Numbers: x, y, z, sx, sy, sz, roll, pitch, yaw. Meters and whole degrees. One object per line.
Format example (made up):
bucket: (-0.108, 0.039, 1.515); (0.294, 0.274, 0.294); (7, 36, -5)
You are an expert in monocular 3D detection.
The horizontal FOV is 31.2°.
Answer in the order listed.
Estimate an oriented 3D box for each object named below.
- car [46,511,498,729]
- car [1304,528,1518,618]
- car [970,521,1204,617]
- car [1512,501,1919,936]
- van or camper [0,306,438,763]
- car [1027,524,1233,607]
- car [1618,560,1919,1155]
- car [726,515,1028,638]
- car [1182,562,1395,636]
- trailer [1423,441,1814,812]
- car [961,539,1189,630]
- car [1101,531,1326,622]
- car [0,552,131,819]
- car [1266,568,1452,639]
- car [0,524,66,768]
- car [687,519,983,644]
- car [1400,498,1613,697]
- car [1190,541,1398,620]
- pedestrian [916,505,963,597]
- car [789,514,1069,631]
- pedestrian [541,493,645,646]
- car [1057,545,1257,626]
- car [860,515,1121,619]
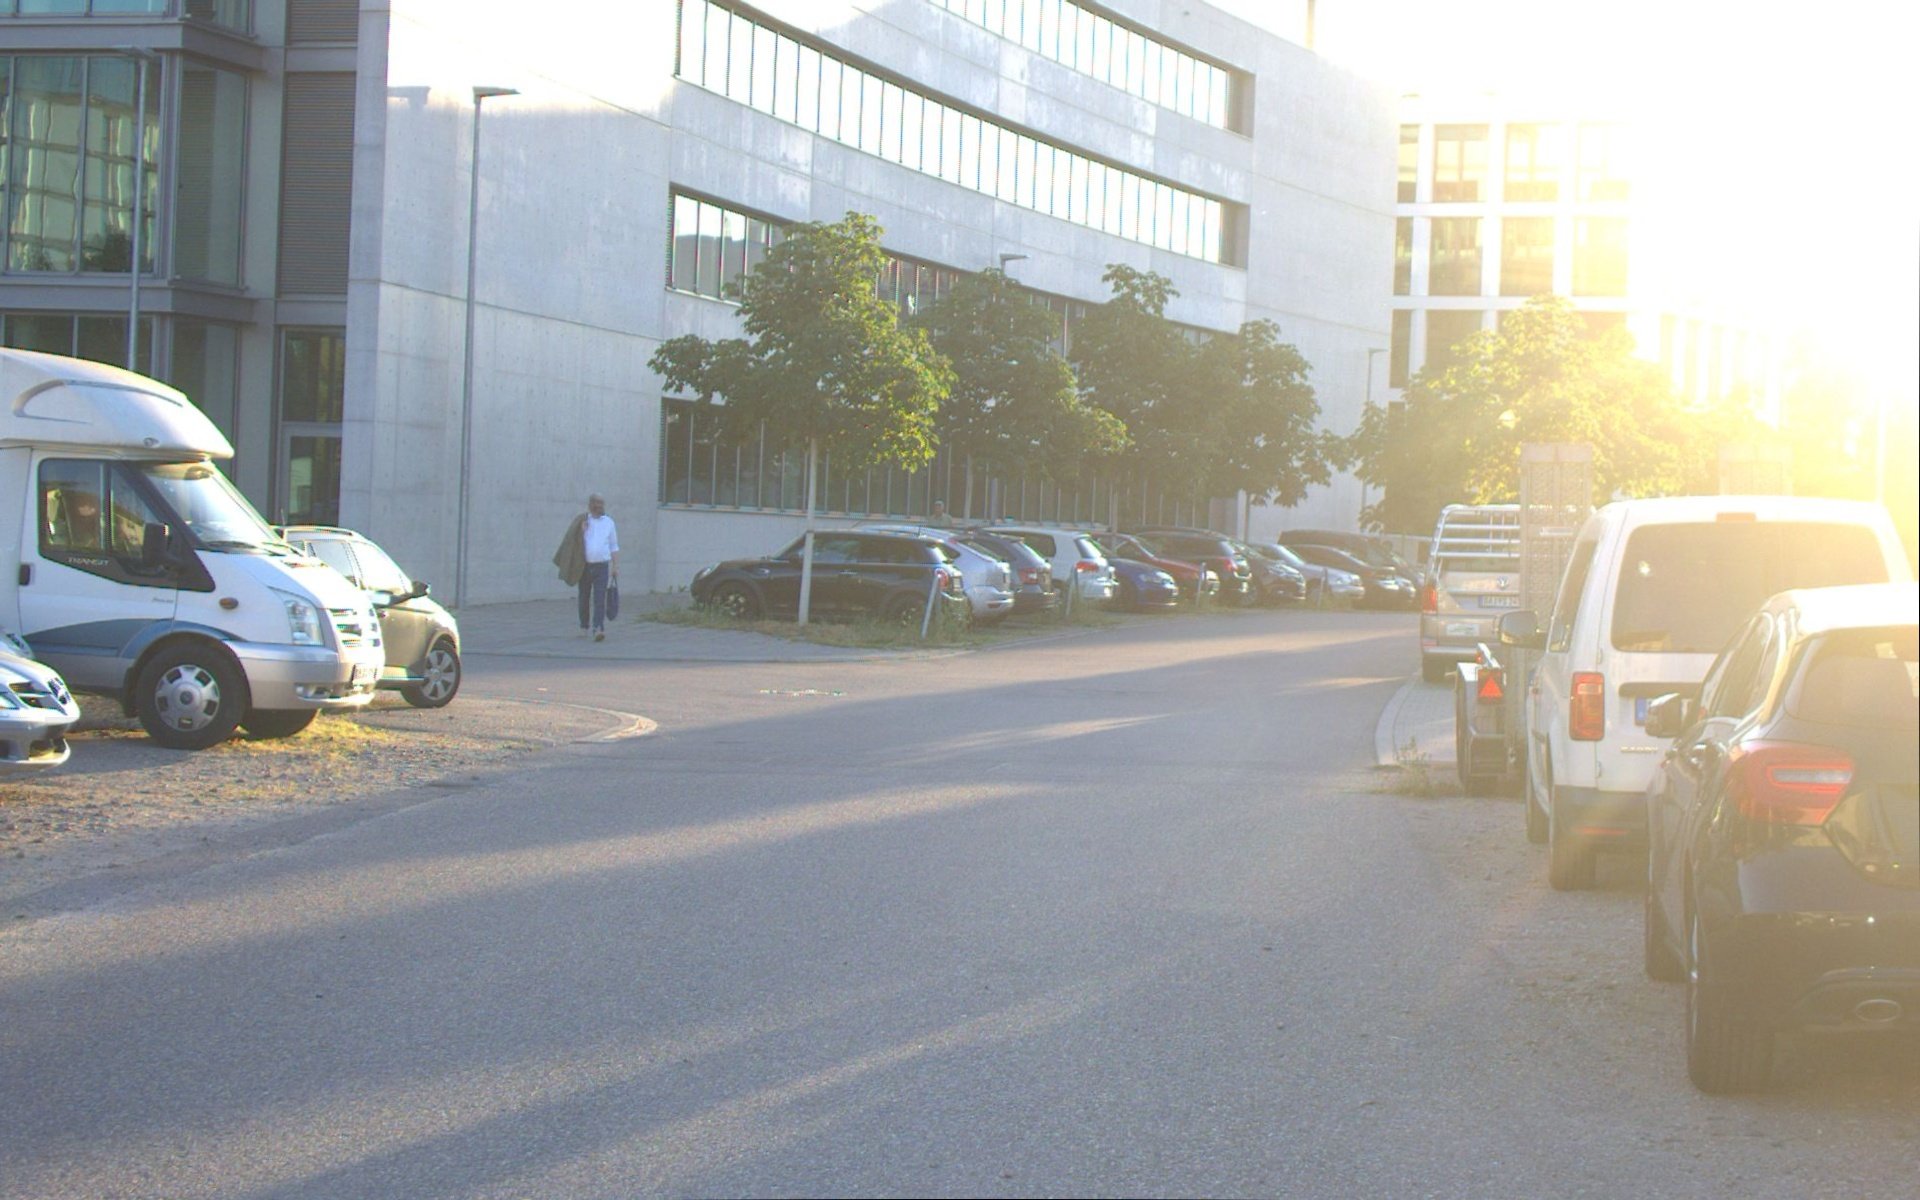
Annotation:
car: (-5.395, 0.146, 27.569); (1.688, 1.514, 4.358); (4, 1, 15)
car: (11.743, -0.707, 89.480); (5.083, 1.940, 1.886); (5, 1, 23)
car: (2.321, -0.578, 62.665); (3.873, 1.506, 1.758); (4, 2, 17)
car: (3.719, 0.483, 16.958); (1.771, 1.825, 4.407); (1, 1, 7)
van or camper: (-7.305, -0.569, 23.970); (6.742, 2.887, 2.408); (3, 1, 5)
car: (3.358, -0.671, 67.729); (3.705, 1.452, 1.710); (3, 1, 17)
car: (3.068, 0.660, 10.905); (1.705, 1.514, 4.087); (2, 1, 8)
car: (-1.201, -0.361, 50.567); (4.088, 1.523, 1.845); (4, 1, 10)
car: (7.434, -0.045, 77.780); (4.439, 1.459, 1.761); (3, 2, 22)
trailer: (4.346, 0.106, 23.508); (2.064, 2.204, 5.222); (1, 1, 5)
car: (2.005, -0.284, 59.469); (3.635, 1.357, 1.685); (3, 2, 12)
car: (5.337, -0.501, 72.258); (4.313, 1.690, 1.894); (3, 1, 19)
car: (-6.660, 0.338, 18.675); (3.808, 1.324, 1.693); (3, 1, 3)
car: (9.786, 0.091, 84.325); (4.149, 1.399, 1.722); (5, 1, 22)
car: (-7.634, 0.178, 21.451); (3.604, 1.471, 1.693); (3, 1, 0)
car: (-1.705, -0.282, 47.647); (3.736, 1.477, 1.769); (4, 2, 10)
car: (6.329, -0.078, 39.380); (2.066, 2.087, 4.869); (2, 1, 13)
car: (7.802, -0.460, 80.416); (4.404, 1.494, 1.760); (5, 1, 26)
pedestrian: (-0.402, -0.974, 68.218); (0.646, 1.778, 0.724); (4, 1, 16)
car: (-0.460, -0.438, 52.759); (3.999, 1.507, 1.584); (4, 3, 10)
pedestrian: (-4.498, -0.379, 42.131); (0.899, 1.844, 0.856); (0, 2, -43)
car: (4.015, -0.306, 69.966); (3.706, 1.452, 1.677); (3, 1, 19)
car: (0.523, -0.566, 57.630); (3.990, 1.506, 1.759); (3, 2, 16)
